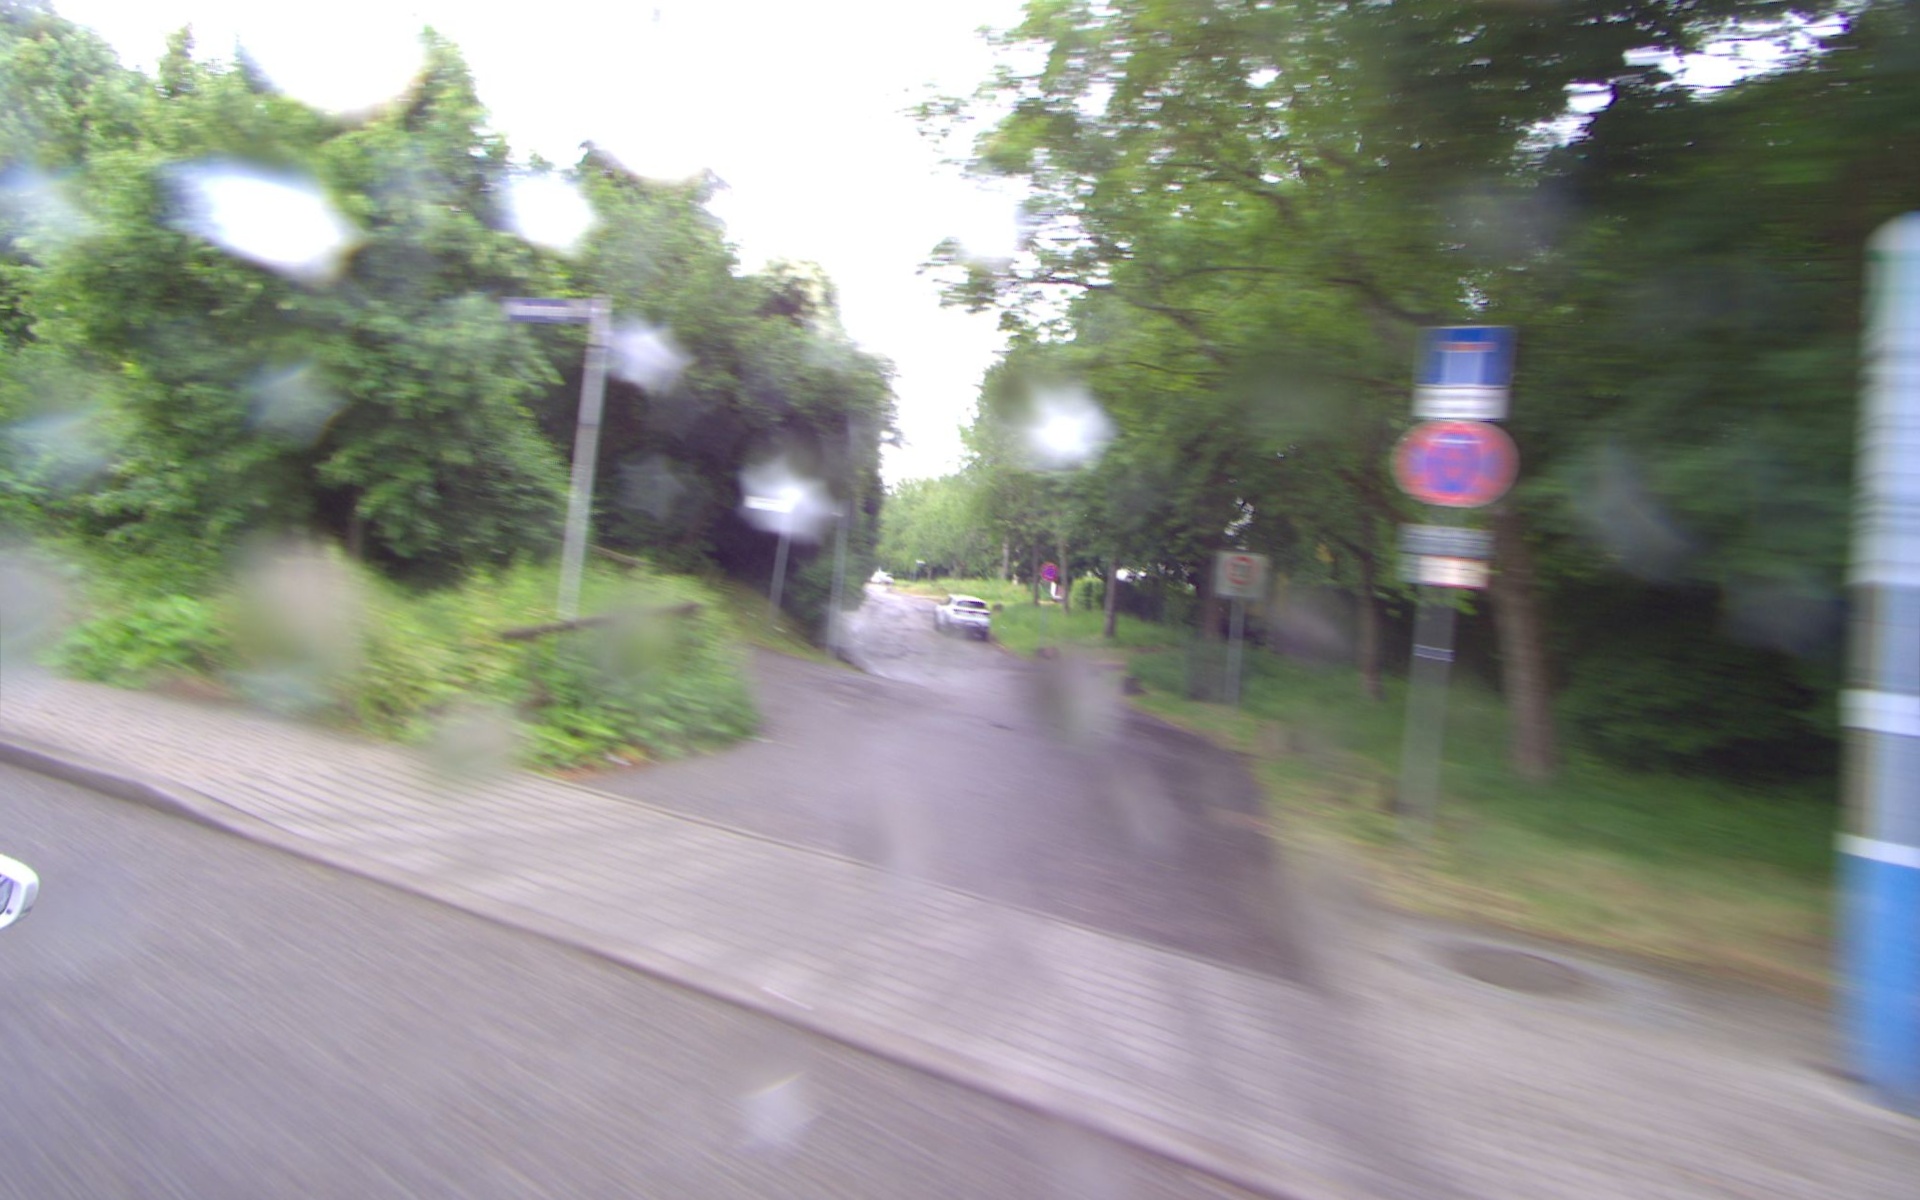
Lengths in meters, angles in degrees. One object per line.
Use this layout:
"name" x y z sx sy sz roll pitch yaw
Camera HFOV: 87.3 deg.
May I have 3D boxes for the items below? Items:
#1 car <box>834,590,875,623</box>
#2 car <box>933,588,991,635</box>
"car" -6.272 0.421 59.513 1.966 1.614 3.997 5 -3 -10
"car" 0.035 0.463 42.004 1.822 1.641 3.996 7 -1 -6
